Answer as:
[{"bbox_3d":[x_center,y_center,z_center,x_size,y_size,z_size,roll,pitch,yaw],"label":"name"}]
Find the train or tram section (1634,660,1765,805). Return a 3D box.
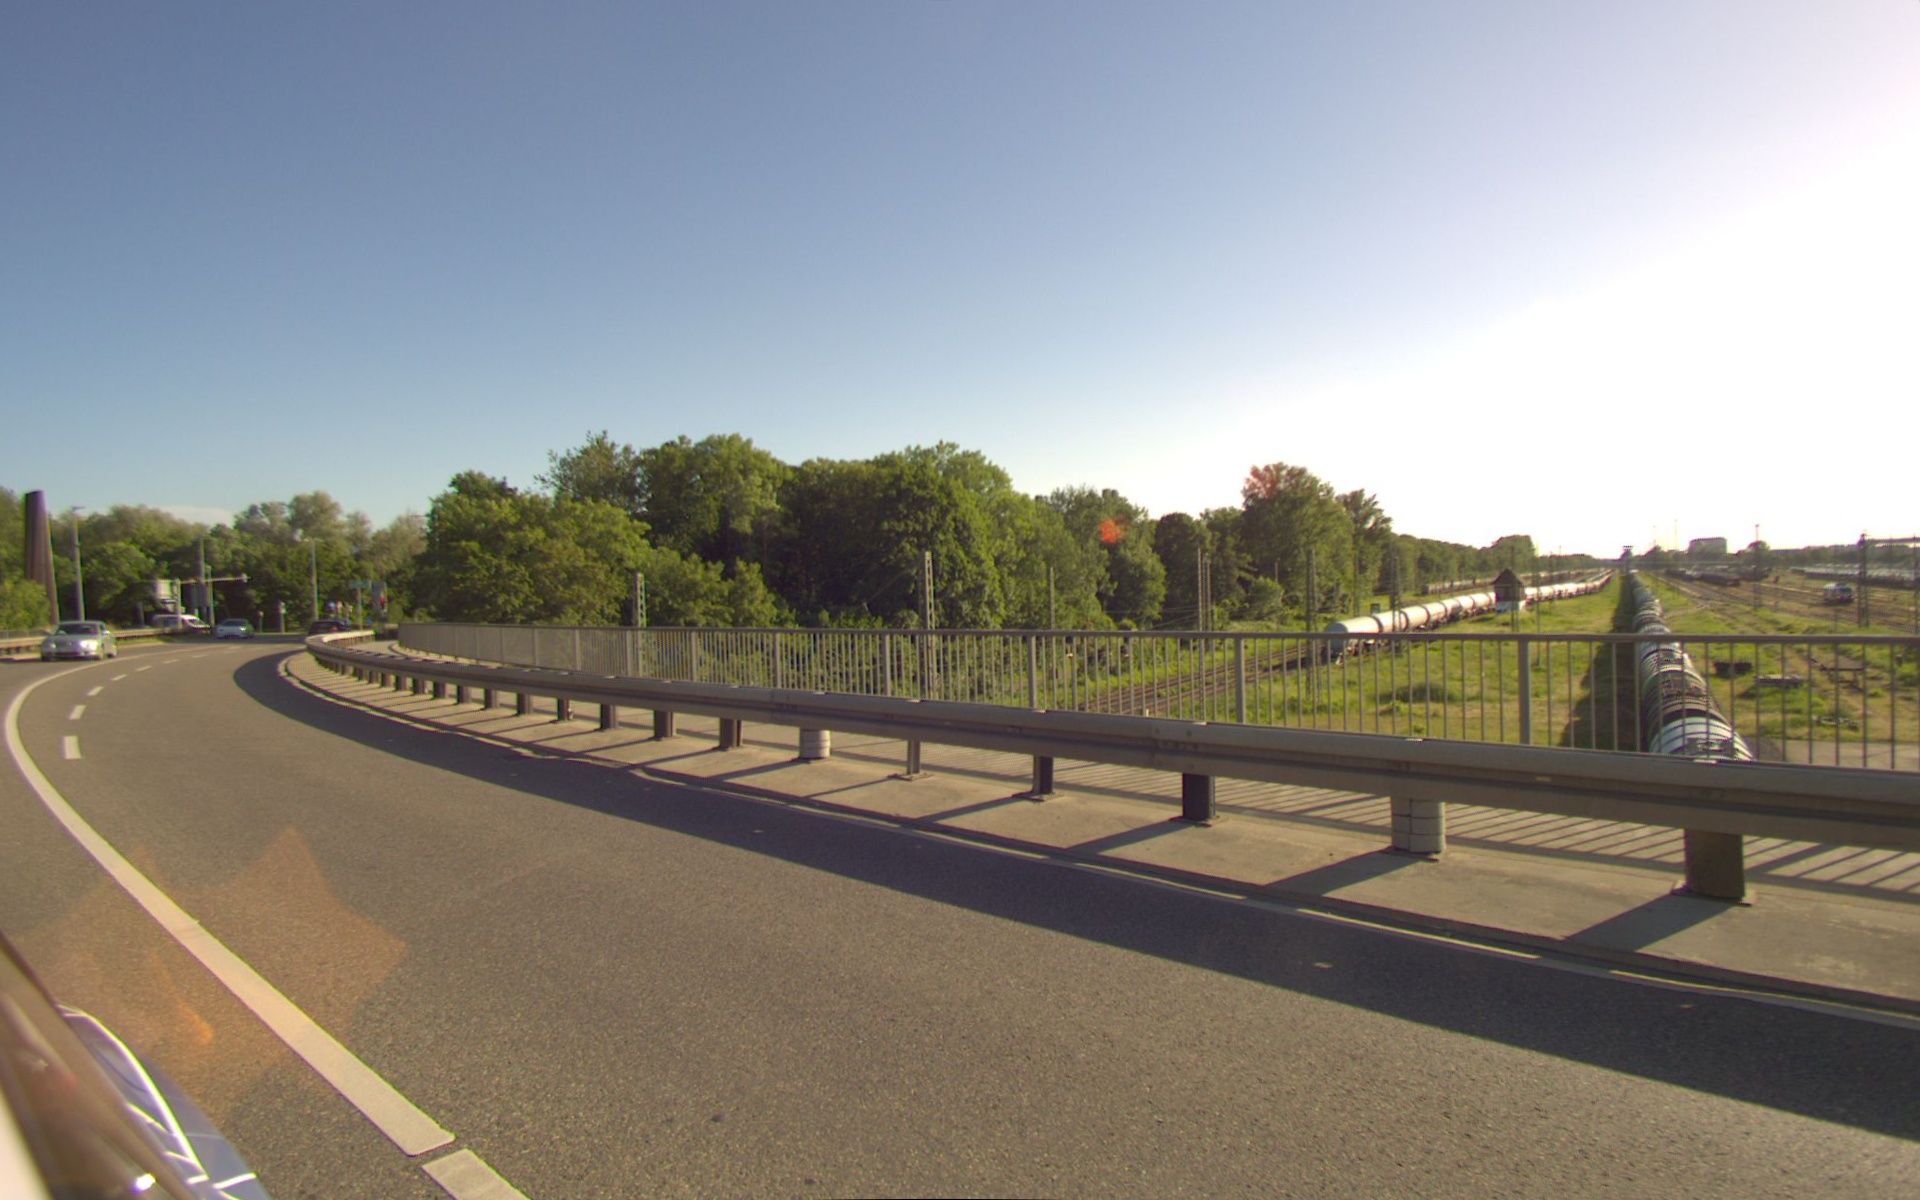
[{"bbox_3d":[32.711,5.385,45.469,3.895,4.626,16.125,-2,-1,34],"label":"train or tram section"}]

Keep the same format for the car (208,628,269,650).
[{"bbox_3d":[-53.231,2.836,74.746,1.963,1.484,4.136,-1,-1,-7],"label":"car"}]

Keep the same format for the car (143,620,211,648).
[{"bbox_3d":[-81.211,3.518,105.030,5.635,2.518,2.111,-3,-1,6],"label":"car"}]

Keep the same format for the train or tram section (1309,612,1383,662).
[{"bbox_3d":[44.160,4.042,115.019,4.036,5.125,19.138,-2,-1,33],"label":"train or tram section"}]

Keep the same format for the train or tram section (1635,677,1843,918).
[{"bbox_3d":[23.674,5.236,31.818,3.895,4.626,16.577,-2,-1,34],"label":"train or tram section"}]

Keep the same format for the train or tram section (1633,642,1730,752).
[{"bbox_3d":[41.721,5.212,59.070,3.895,5.055,16.476,-2,-1,34],"label":"train or tram section"}]

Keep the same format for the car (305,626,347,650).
[{"bbox_3d":[-39.764,2.352,63.577,1.847,1.450,4.335,0,-1,-27],"label":"car"}]

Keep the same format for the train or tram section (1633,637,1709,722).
[{"bbox_3d":[50.746,5.375,72.653,3.895,5.055,16.179,-2,-1,34],"label":"train or tram section"}]

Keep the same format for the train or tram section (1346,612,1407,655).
[{"bbox_3d":[53.734,4.169,129.998,4.036,5.125,17.986,-2,-1,33],"label":"train or tram section"}]

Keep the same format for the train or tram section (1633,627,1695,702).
[{"bbox_3d":[59.715,5.194,86.196,3.895,5.561,16.316,-2,-1,34],"label":"train or tram section"}]

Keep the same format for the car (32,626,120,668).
[{"bbox_3d":[-33.130,1.721,38.044,1.735,1.447,4.343,0,-1,-31],"label":"car"}]
